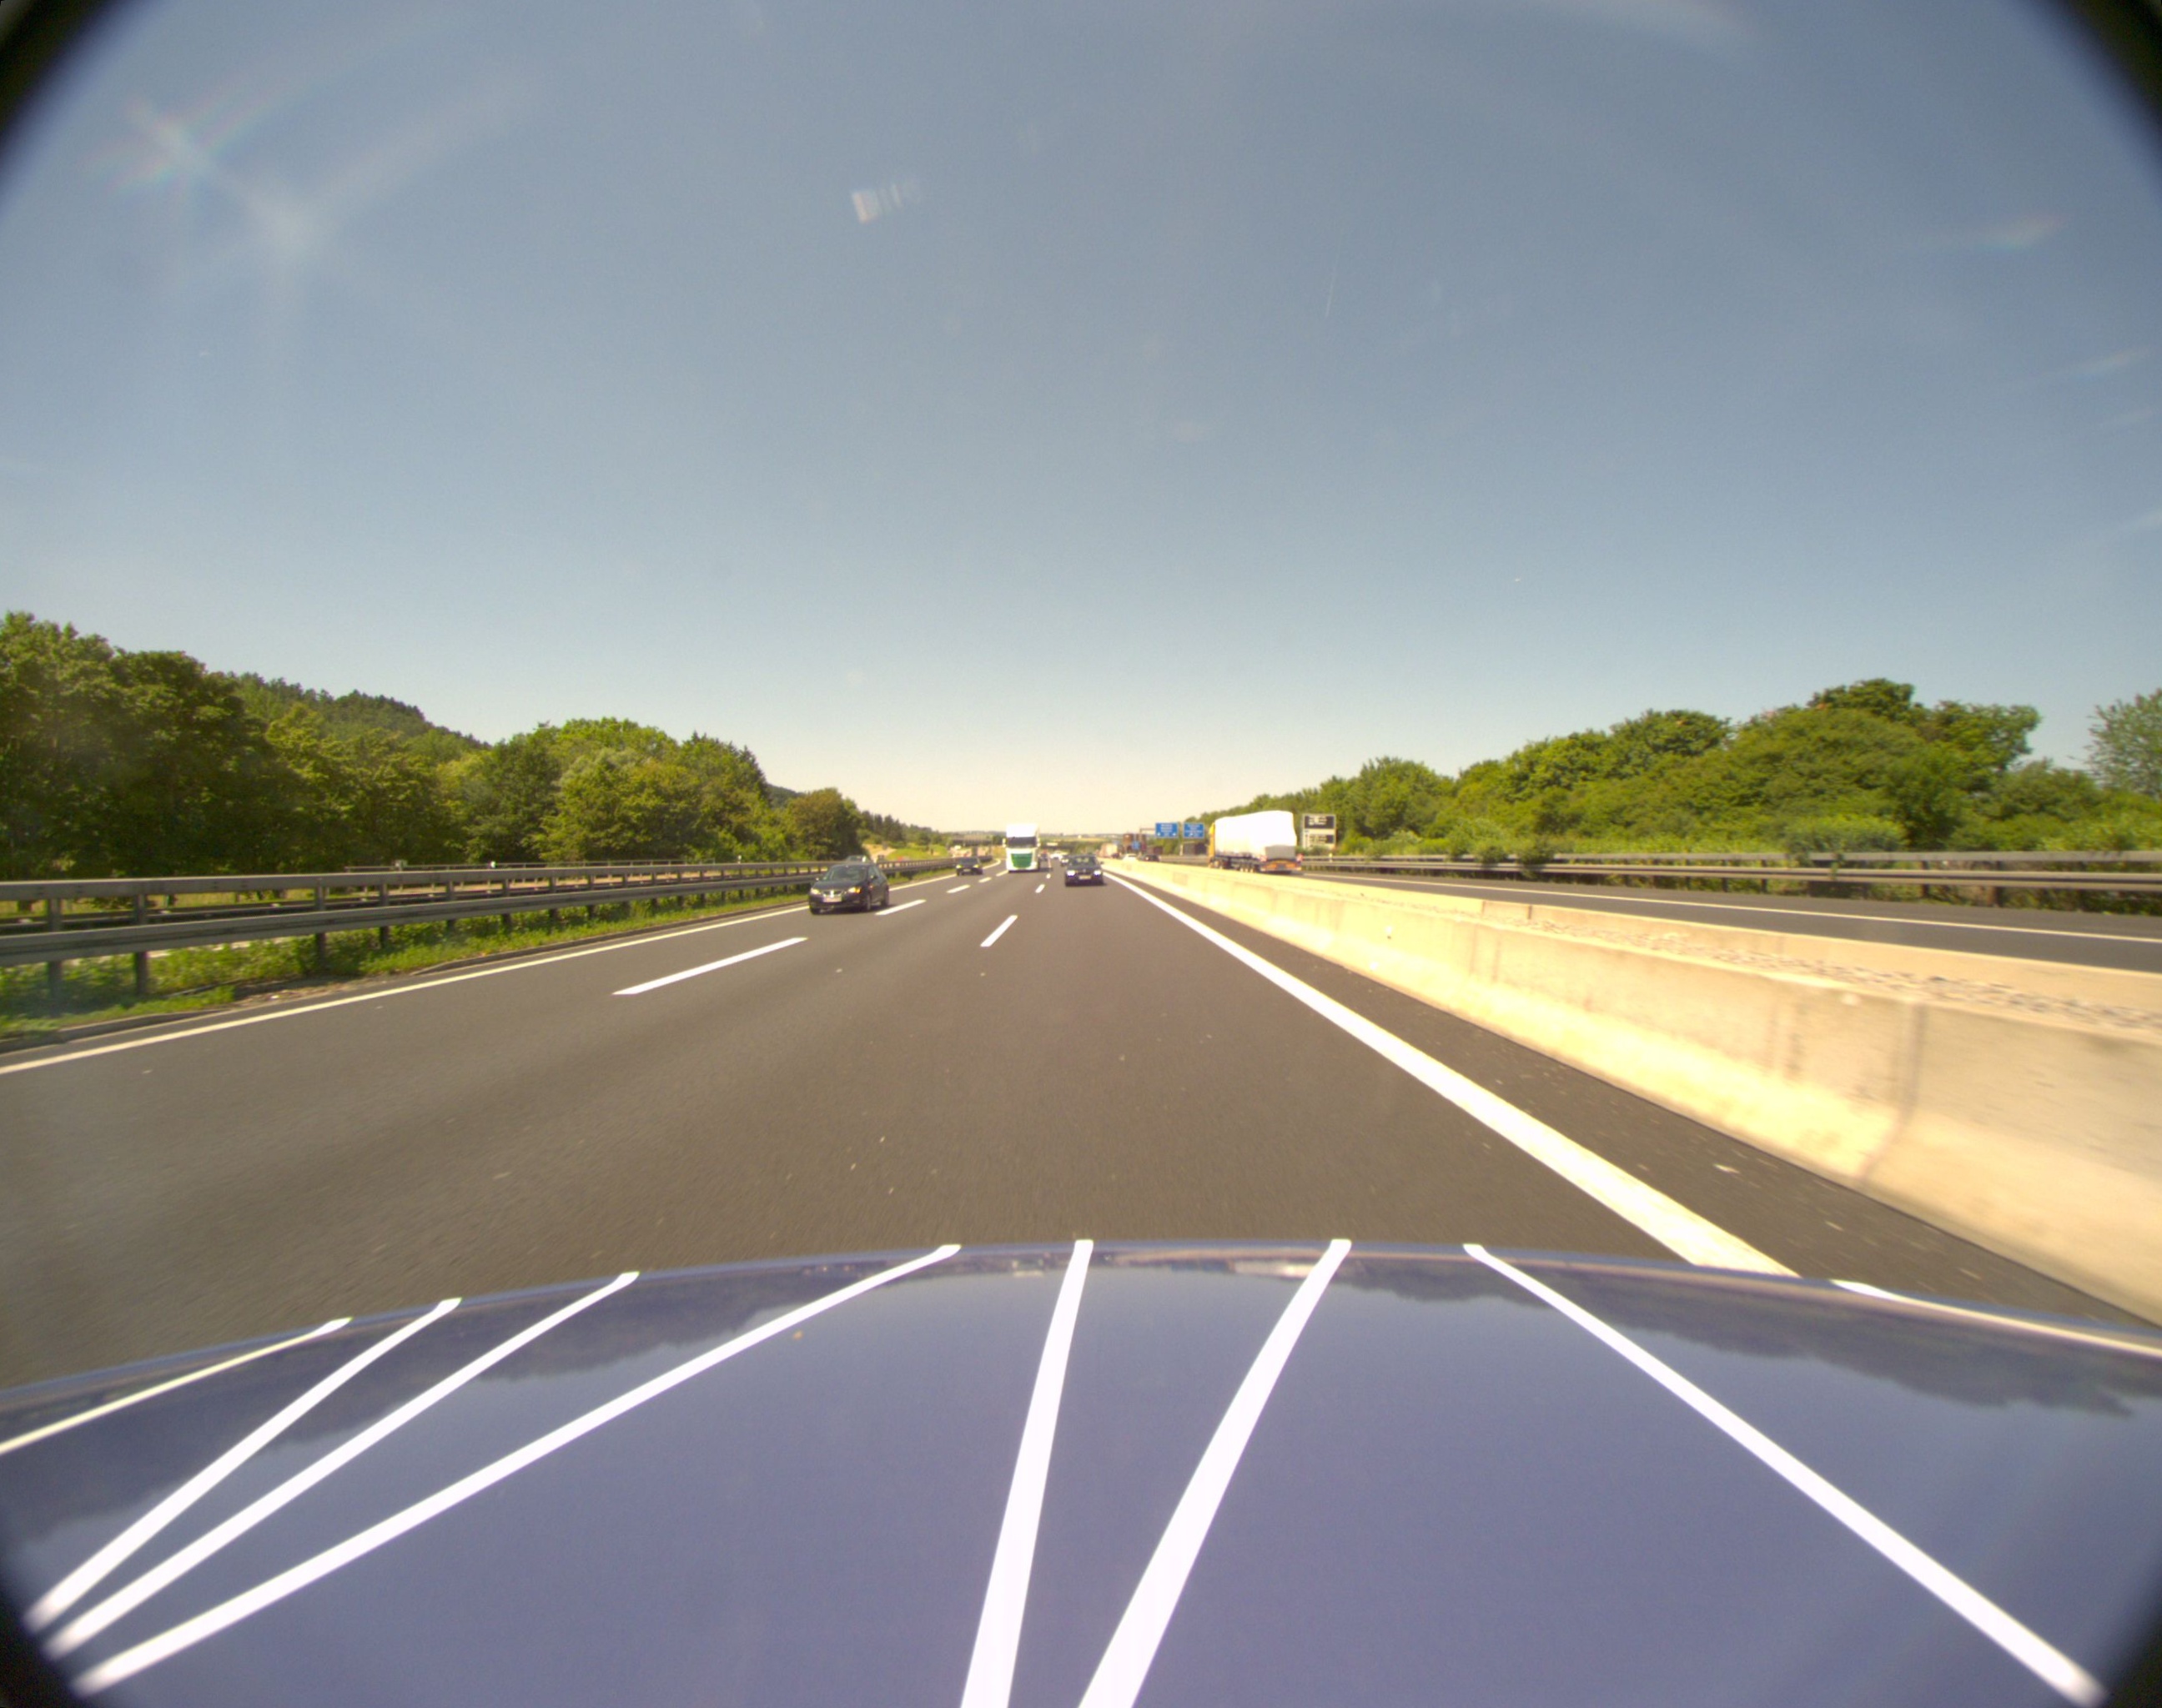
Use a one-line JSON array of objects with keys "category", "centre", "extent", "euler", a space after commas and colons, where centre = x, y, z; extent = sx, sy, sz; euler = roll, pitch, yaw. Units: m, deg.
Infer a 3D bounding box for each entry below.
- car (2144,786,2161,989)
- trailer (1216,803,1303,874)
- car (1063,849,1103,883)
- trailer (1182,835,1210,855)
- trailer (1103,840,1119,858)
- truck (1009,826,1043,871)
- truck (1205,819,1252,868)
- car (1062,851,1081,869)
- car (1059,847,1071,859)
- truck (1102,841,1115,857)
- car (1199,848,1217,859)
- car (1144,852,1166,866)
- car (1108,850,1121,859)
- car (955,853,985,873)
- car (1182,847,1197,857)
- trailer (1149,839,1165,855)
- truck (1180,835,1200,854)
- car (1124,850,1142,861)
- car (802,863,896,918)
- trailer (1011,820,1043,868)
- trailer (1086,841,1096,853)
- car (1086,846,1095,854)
[{"category": "car", "centre": [12.015, 0.342, 5.518], "extent": [1.998, 2.069, 4.703], "euler": [-1, 0, 0]}, {"category": "trailer", "centre": [12.150, -1.035, 53.234], "extent": [2.725, 4.287, 12.820], "euler": [-1, 1, -2]}, {"category": "car", "centre": [0.061, 0.566, 38.834], "extent": [1.799, 1.574, 3.998], "euler": [-1, 1, -3]}, {"category": "trailer", "centre": [24.004, -1.910, 158.996], "extent": [3.229, 4.022, 13.532], "euler": [-1, 1, -2]}, {"category": "trailer", "centre": [7.237, -1.277, 185.067], "extent": [2.918, 4.022, 12.059], "euler": [-1, 1, -2]}, {"category": "truck", "centre": [-4.577, -0.469, 63.775], "extent": [2.649, 3.572, 4.402], "euler": [-1, 1, -3]}, {"category": "truck", "centre": [11.946, -0.845, 62.076], "extent": [2.757, 3.733, 4.864], "euler": [-1, 1, -1]}, {"category": "car", "centre": [-1.059, 0.663, 86.560], "extent": [1.999, 2.002, 3.998], "euler": [-1, 1, -2]}, {"category": "car", "centre": [-2.770, -0.115, 131.781], "extent": [1.925, 2.002, 3.999], "euler": [0, 0, 0]}, {"category": "truck", "centre": [6.966, -1.384, 192.594], "extent": [2.936, 3.950, 5.896], "euler": [-1, 1, -2]}, {"category": "car", "centre": [21.397, -0.150, 128.243], "extent": [1.999, 1.846, 4.428], "euler": [0, 0, -2]}, {"category": "car", "centre": [7.649, 0.518, 79.230], "extent": [1.998, 1.342, 4.258], "euler": [-1, 1, 2]}, {"category": "car", "centre": [5.789, 0.041, 131.615], "extent": [1.733, 1.527, 4.612], "euler": [-1, 0, -3]}, {"category": "car", "centre": [-8.807, 0.718, 60.496], "extent": [1.892, 1.464, 3.866], "euler": [-1, 1, -2]}, {"category": "car", "centre": [20.788, -0.384, 145.664], "extent": [1.999, 1.846, 4.428], "euler": [0, 0, -2]}, {"category": "trailer", "centre": [21.650, -2.065, 216.886], "extent": [2.802, 4.408, 11.649], "euler": [-1, 1, -2]}, {"category": "truck", "centre": [23.748, -1.993, 166.181], "extent": [3.229, 4.022, 6.637], "euler": [-1, 1, -2]}, {"category": "car", "centre": [6.869, 0.203, 100.982], "extent": [1.999, 1.366, 4.661], "euler": [-1, 0, -2]}, {"category": "car", "centre": [-6.937, 1.039, 23.113], "extent": [1.781, 1.392, 3.760], "euler": [-1, 1, -2]}, {"category": "trailer", "centre": [-5.058, -0.902, 73.410], "extent": [2.664, 4.164, 14.889], "euler": [-1, 0, -3]}, {"category": "trailer", "centre": [3.383, -2.558, 268.169], "extent": [2.674, 4.248, 13.809], "euler": [-1, 1, -2]}, {"category": "car", "centre": [2.483, -1.064, 193.314], "extent": [2.056, 2.002, 4.953], "euler": [-1, 1, -2]}]
